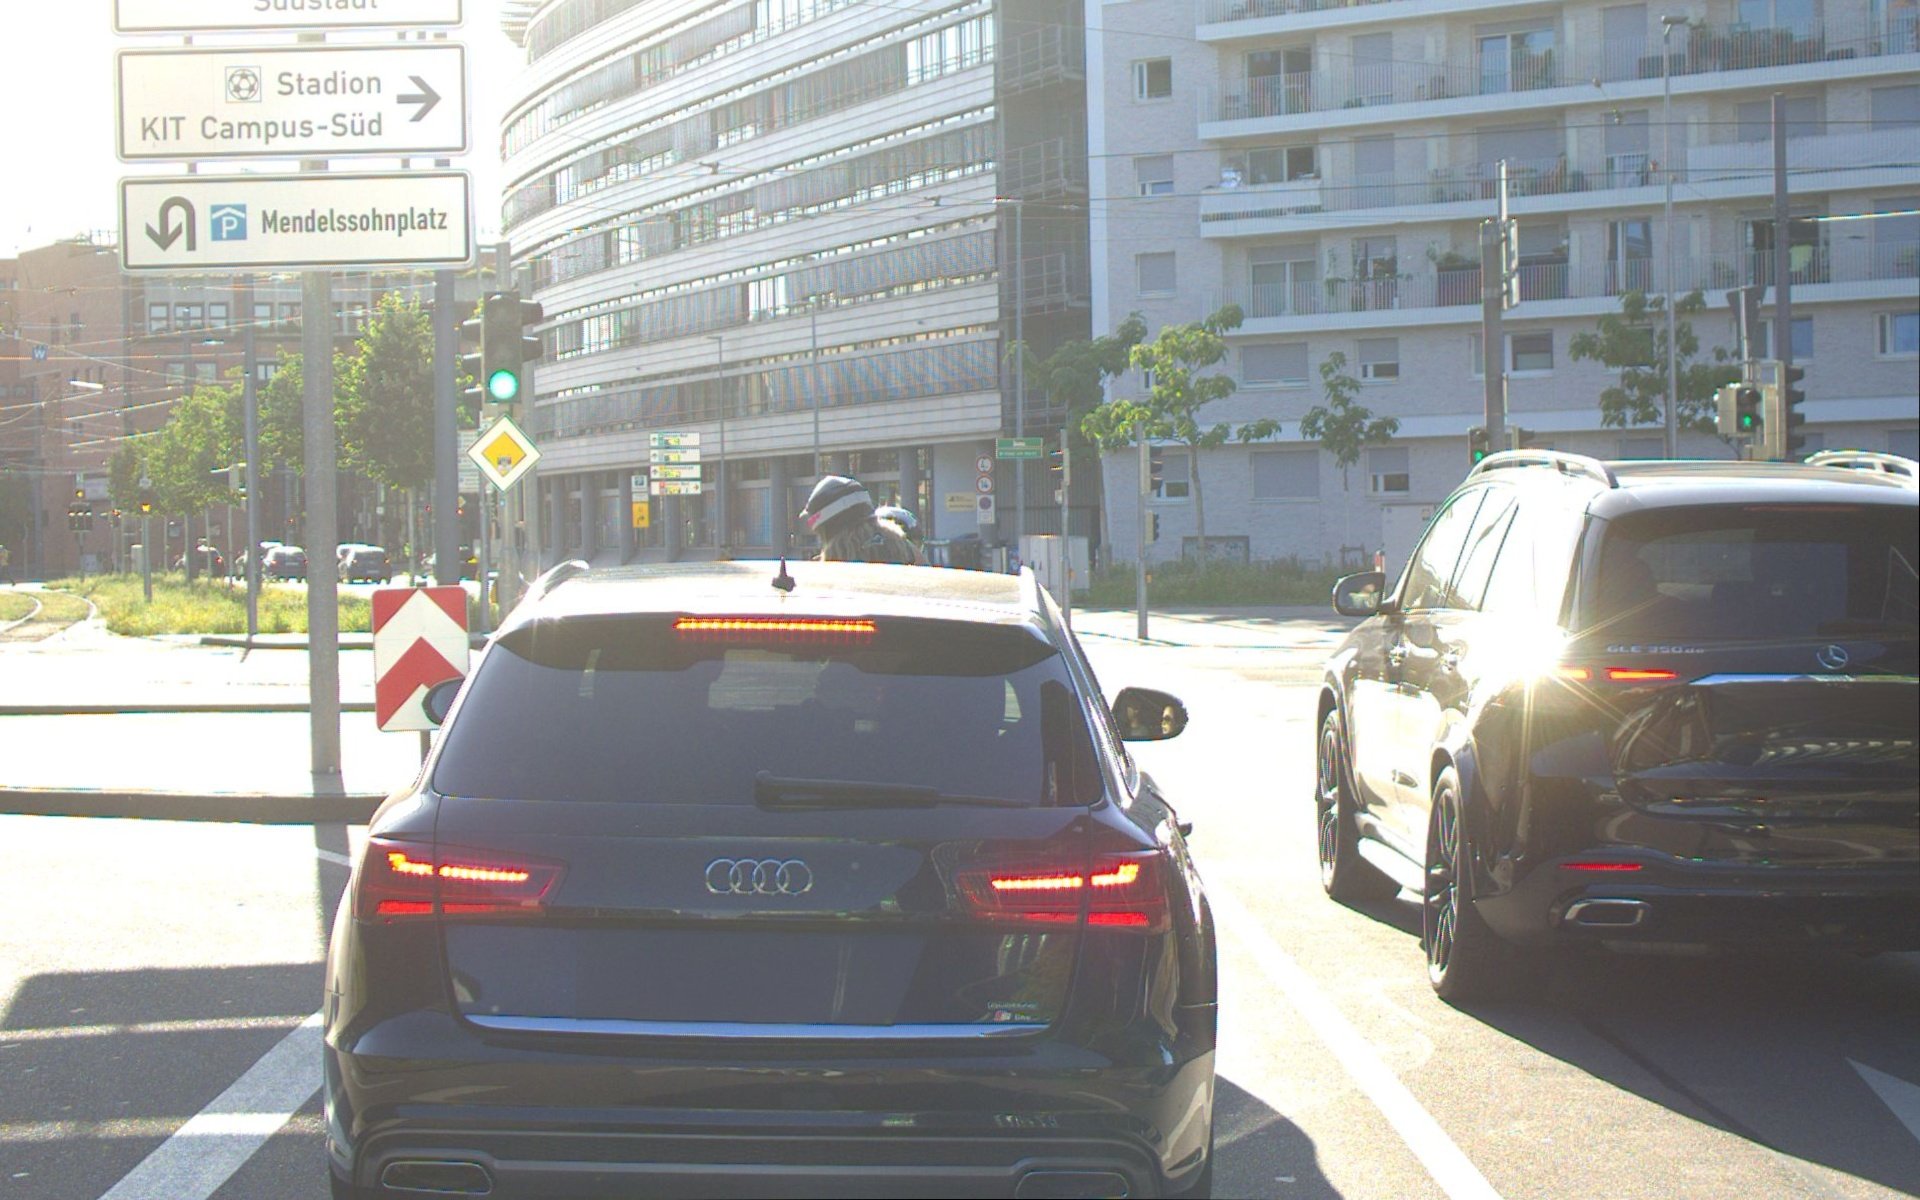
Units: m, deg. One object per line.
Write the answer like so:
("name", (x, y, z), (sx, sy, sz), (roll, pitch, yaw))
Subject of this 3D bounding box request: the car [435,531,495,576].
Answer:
("car", (-21.525, -2.003, 149.423), (1.993, 1.831, 4.001), (-2, 0, -16))

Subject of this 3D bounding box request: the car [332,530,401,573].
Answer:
("car", (-23.713, -1.940, 137.298), (1.993, 1.590, 4.001), (-2, 1, -20))

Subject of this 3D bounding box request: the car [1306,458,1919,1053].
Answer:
("car", (2.484, 0.400, 12.139), (2.003, 1.709, 4.373), (1, 1, -1))

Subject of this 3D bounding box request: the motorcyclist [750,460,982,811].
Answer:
("motorcyclist", (-0.361, 0.130, 13.407), (0.862, 1.322, 0.681), (-1, 1, -1))

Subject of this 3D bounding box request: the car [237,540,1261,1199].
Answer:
("car", (-0.421, 0.610, 8.240), (1.842, 1.449, 4.000), (1, 1, -1))

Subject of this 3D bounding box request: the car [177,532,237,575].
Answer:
("car", (-31.761, -1.936, 144.928), (1.993, 1.700, 4.001), (-2, 0, -19))

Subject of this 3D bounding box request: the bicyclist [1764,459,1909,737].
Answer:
("bicyclist", (5.314, -0.024, 20.877), (0.654, 1.637, 0.972), (-1, 1, 3))

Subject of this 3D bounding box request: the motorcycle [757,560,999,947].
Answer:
("motorcycle", (-0.309, 0.549, 13.449), (0.862, 1.388, 1.894), (-1, 1, -1))

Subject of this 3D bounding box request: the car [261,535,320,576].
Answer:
("car", (-27.207, -1.799, 139.686), (1.993, 1.590, 4.001), (-2, 0, -16))

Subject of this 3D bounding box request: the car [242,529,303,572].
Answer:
("car", (-29.148, -2.082, 145.600), (1.993, 1.700, 4.001), (-2, 0, -19))
